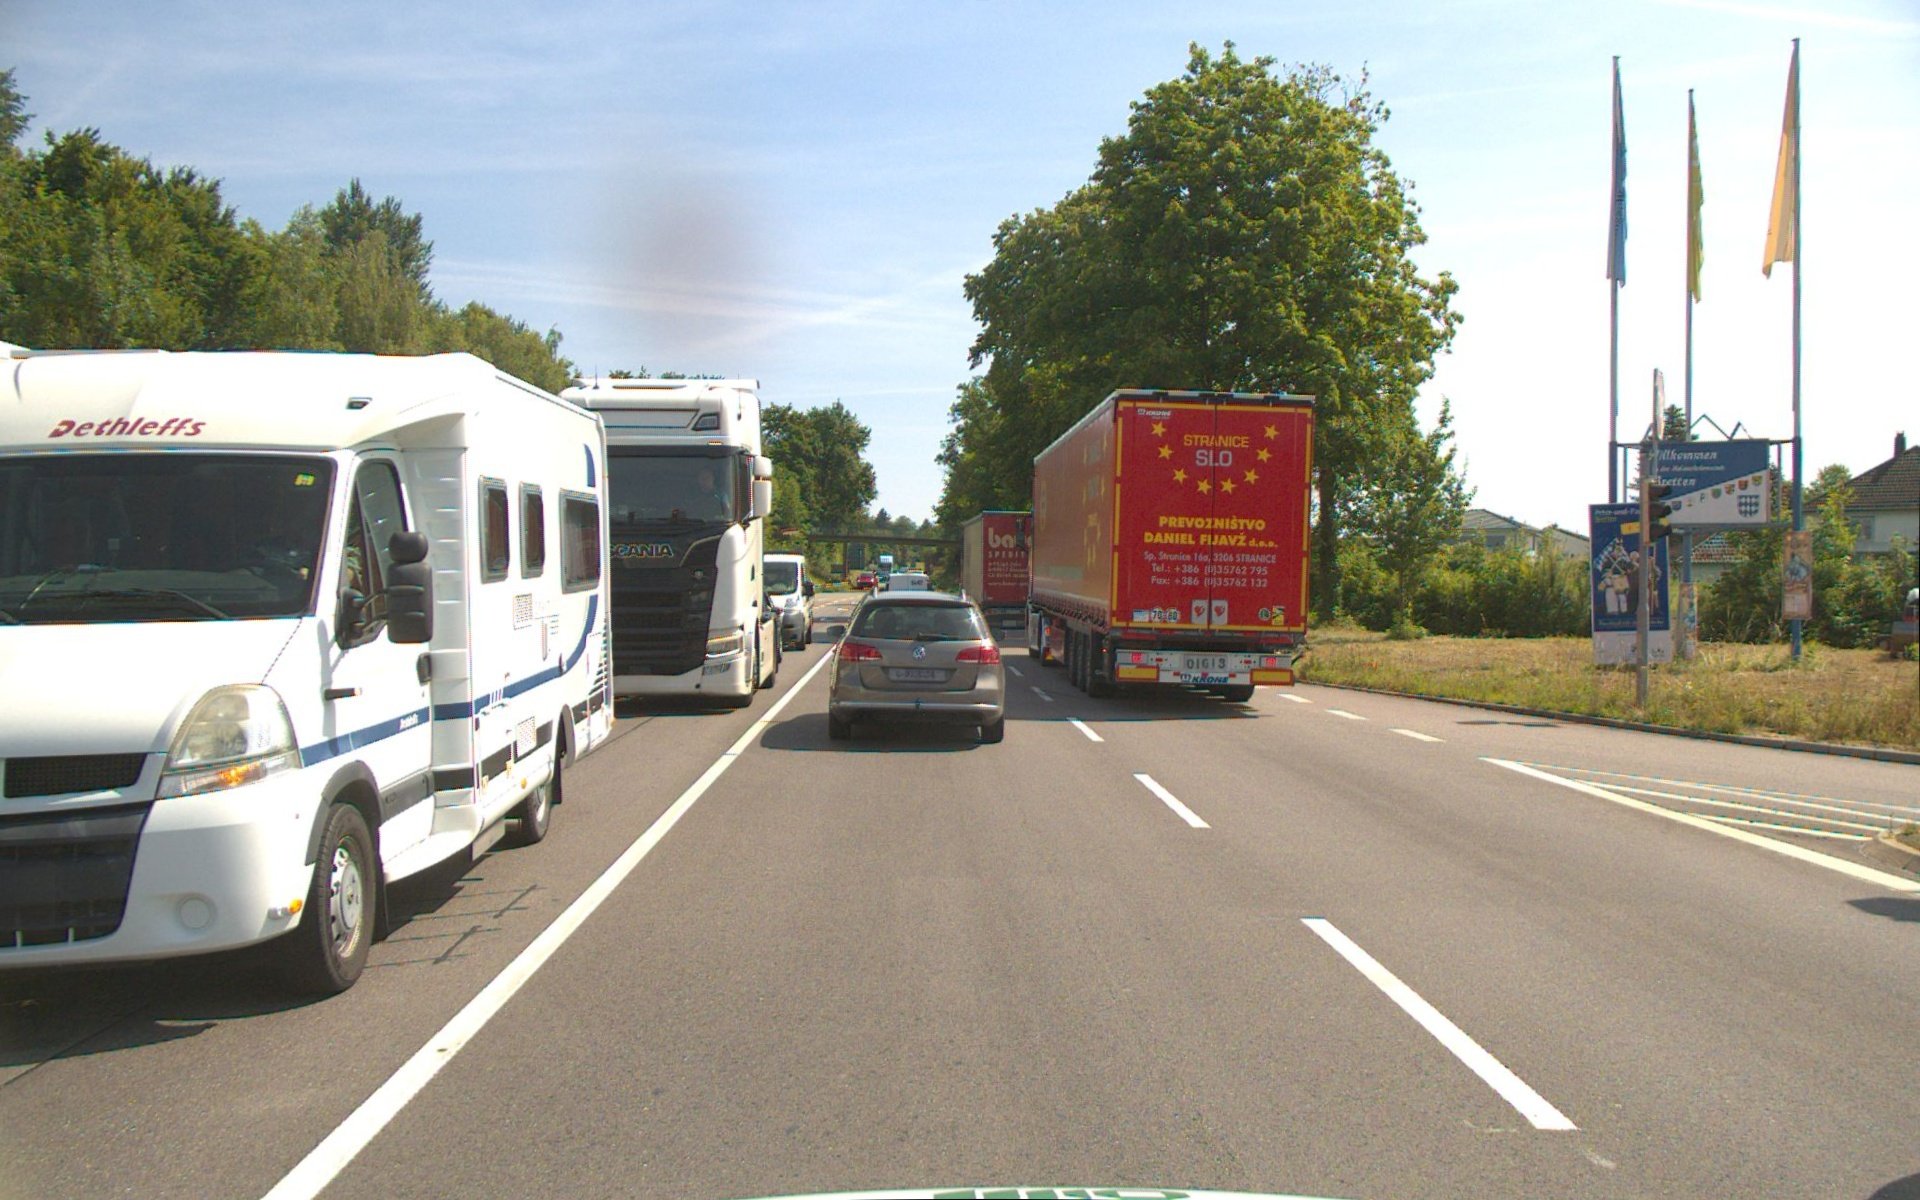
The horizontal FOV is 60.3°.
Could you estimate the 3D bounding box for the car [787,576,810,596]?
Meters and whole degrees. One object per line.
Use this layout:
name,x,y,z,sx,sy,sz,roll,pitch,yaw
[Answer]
car,-15.021,-1.314,154.243,1.934,1.827,4.805,-1,0,-4

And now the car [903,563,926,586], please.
car,-4.122,-2.294,149.771,1.954,2.049,3.998,-1,0,-3

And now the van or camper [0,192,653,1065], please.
van or camper,-3.299,0.078,8.499,2.283,2.645,6.976,-1,0,-2

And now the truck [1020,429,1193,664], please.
truck,2.863,-1.020,34.017,2.812,4.355,5.837,1,0,-2

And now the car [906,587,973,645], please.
car,-0.605,0.411,46.689,1.735,1.539,3.998,-1,0,-3

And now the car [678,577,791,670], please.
car,-4.114,0.401,30.717,1.676,1.578,4.107,-1,0,-2

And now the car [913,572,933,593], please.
car,-3.837,-1.819,172.679,1.954,2.049,3.998,-1,0,-3

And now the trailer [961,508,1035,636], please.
trailer,1.288,-0.998,62.816,2.346,4.317,13.076,-1,0,0

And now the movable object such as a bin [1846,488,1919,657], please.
movable object such as a bin,20.532,-0.576,34.547,2.842,3.264,6.683,-1,0,35

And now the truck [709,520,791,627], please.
truck,-7.451,-0.916,59.297,2.296,3.582,6.693,-1,0,-3

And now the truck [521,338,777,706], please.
truck,-3.880,-0.917,21.958,2.486,4.159,6.261,-1,0,-3

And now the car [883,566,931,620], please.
car,-2.075,-0.270,63.796,1.735,1.970,3.975,-1,0,-3

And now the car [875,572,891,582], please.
car,-10.770,-3.249,232.488,1.922,1.439,4.001,0,0,1

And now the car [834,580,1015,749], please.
car,-0.419,0.584,17.347,1.657,1.539,3.998,-1,0,-3

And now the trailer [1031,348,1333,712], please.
trailer,3.029,-0.899,27.048,2.782,4.441,13.163,1,0,-1

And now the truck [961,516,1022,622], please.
truck,1.260,-1.239,68.846,2.357,4.200,5.520,-1,0,-1

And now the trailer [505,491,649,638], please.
trailer,-11.657,-1.027,51.219,2.783,4.140,8.751,-1,0,-3

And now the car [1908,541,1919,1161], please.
car,3.510,0.678,2.536,1.734,1.683,3.999,-1,0,-1

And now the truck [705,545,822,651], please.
truck,-4.593,-0.063,39.628,2.182,2.307,6.497,-1,0,-2

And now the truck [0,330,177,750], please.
truck,-10.581,-0.561,15.046,2.674,4.069,9.615,-1,0,-3
